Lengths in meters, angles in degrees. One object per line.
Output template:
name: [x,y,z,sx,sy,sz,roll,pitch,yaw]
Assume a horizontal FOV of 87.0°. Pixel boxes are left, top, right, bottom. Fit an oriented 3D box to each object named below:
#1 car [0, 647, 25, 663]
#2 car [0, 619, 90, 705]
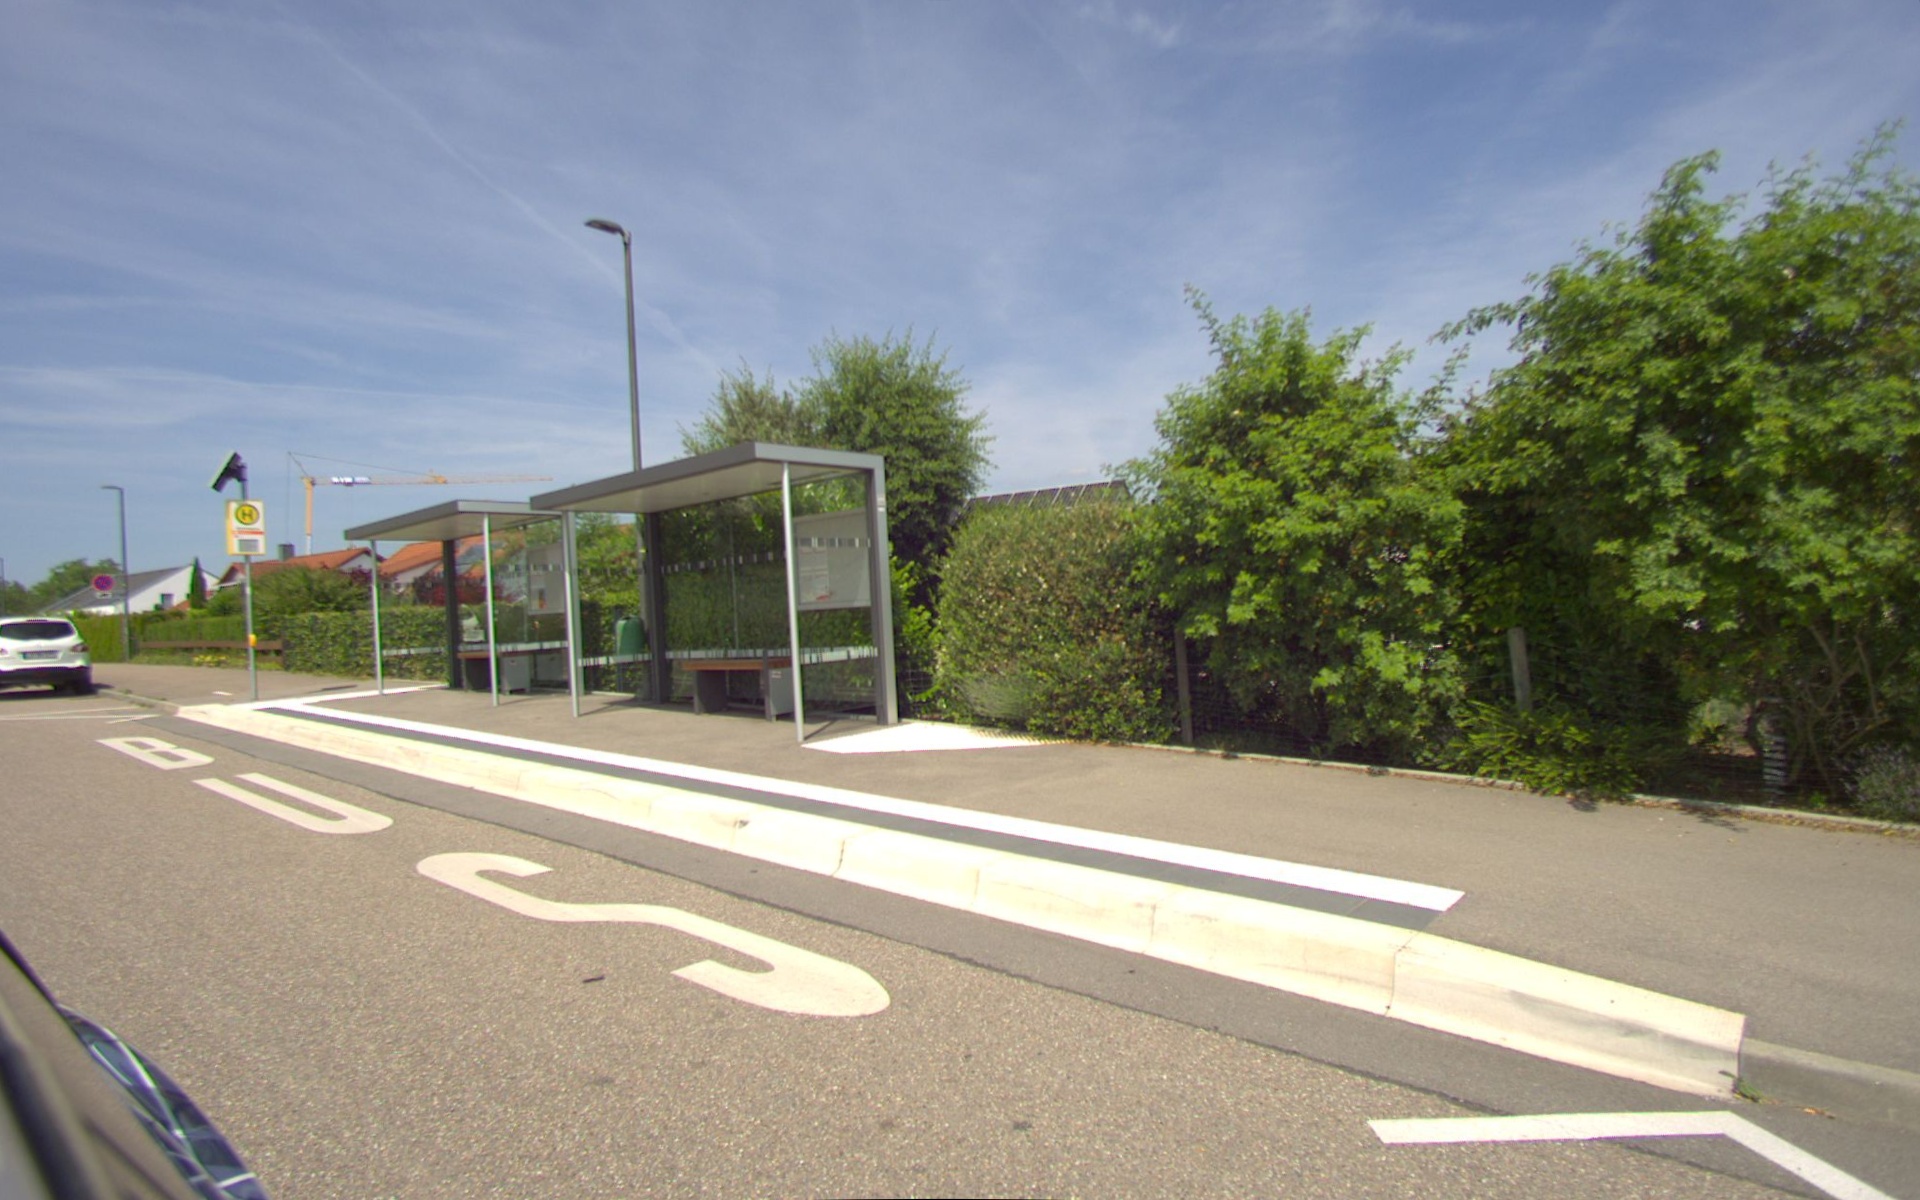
car: [-86.368,4.998,90.660,3.832,1.331,1.802,-2,-1,-44]
car: [-20.000,1.267,21.455,4.349,1.645,1.716,-2,-1,41]
